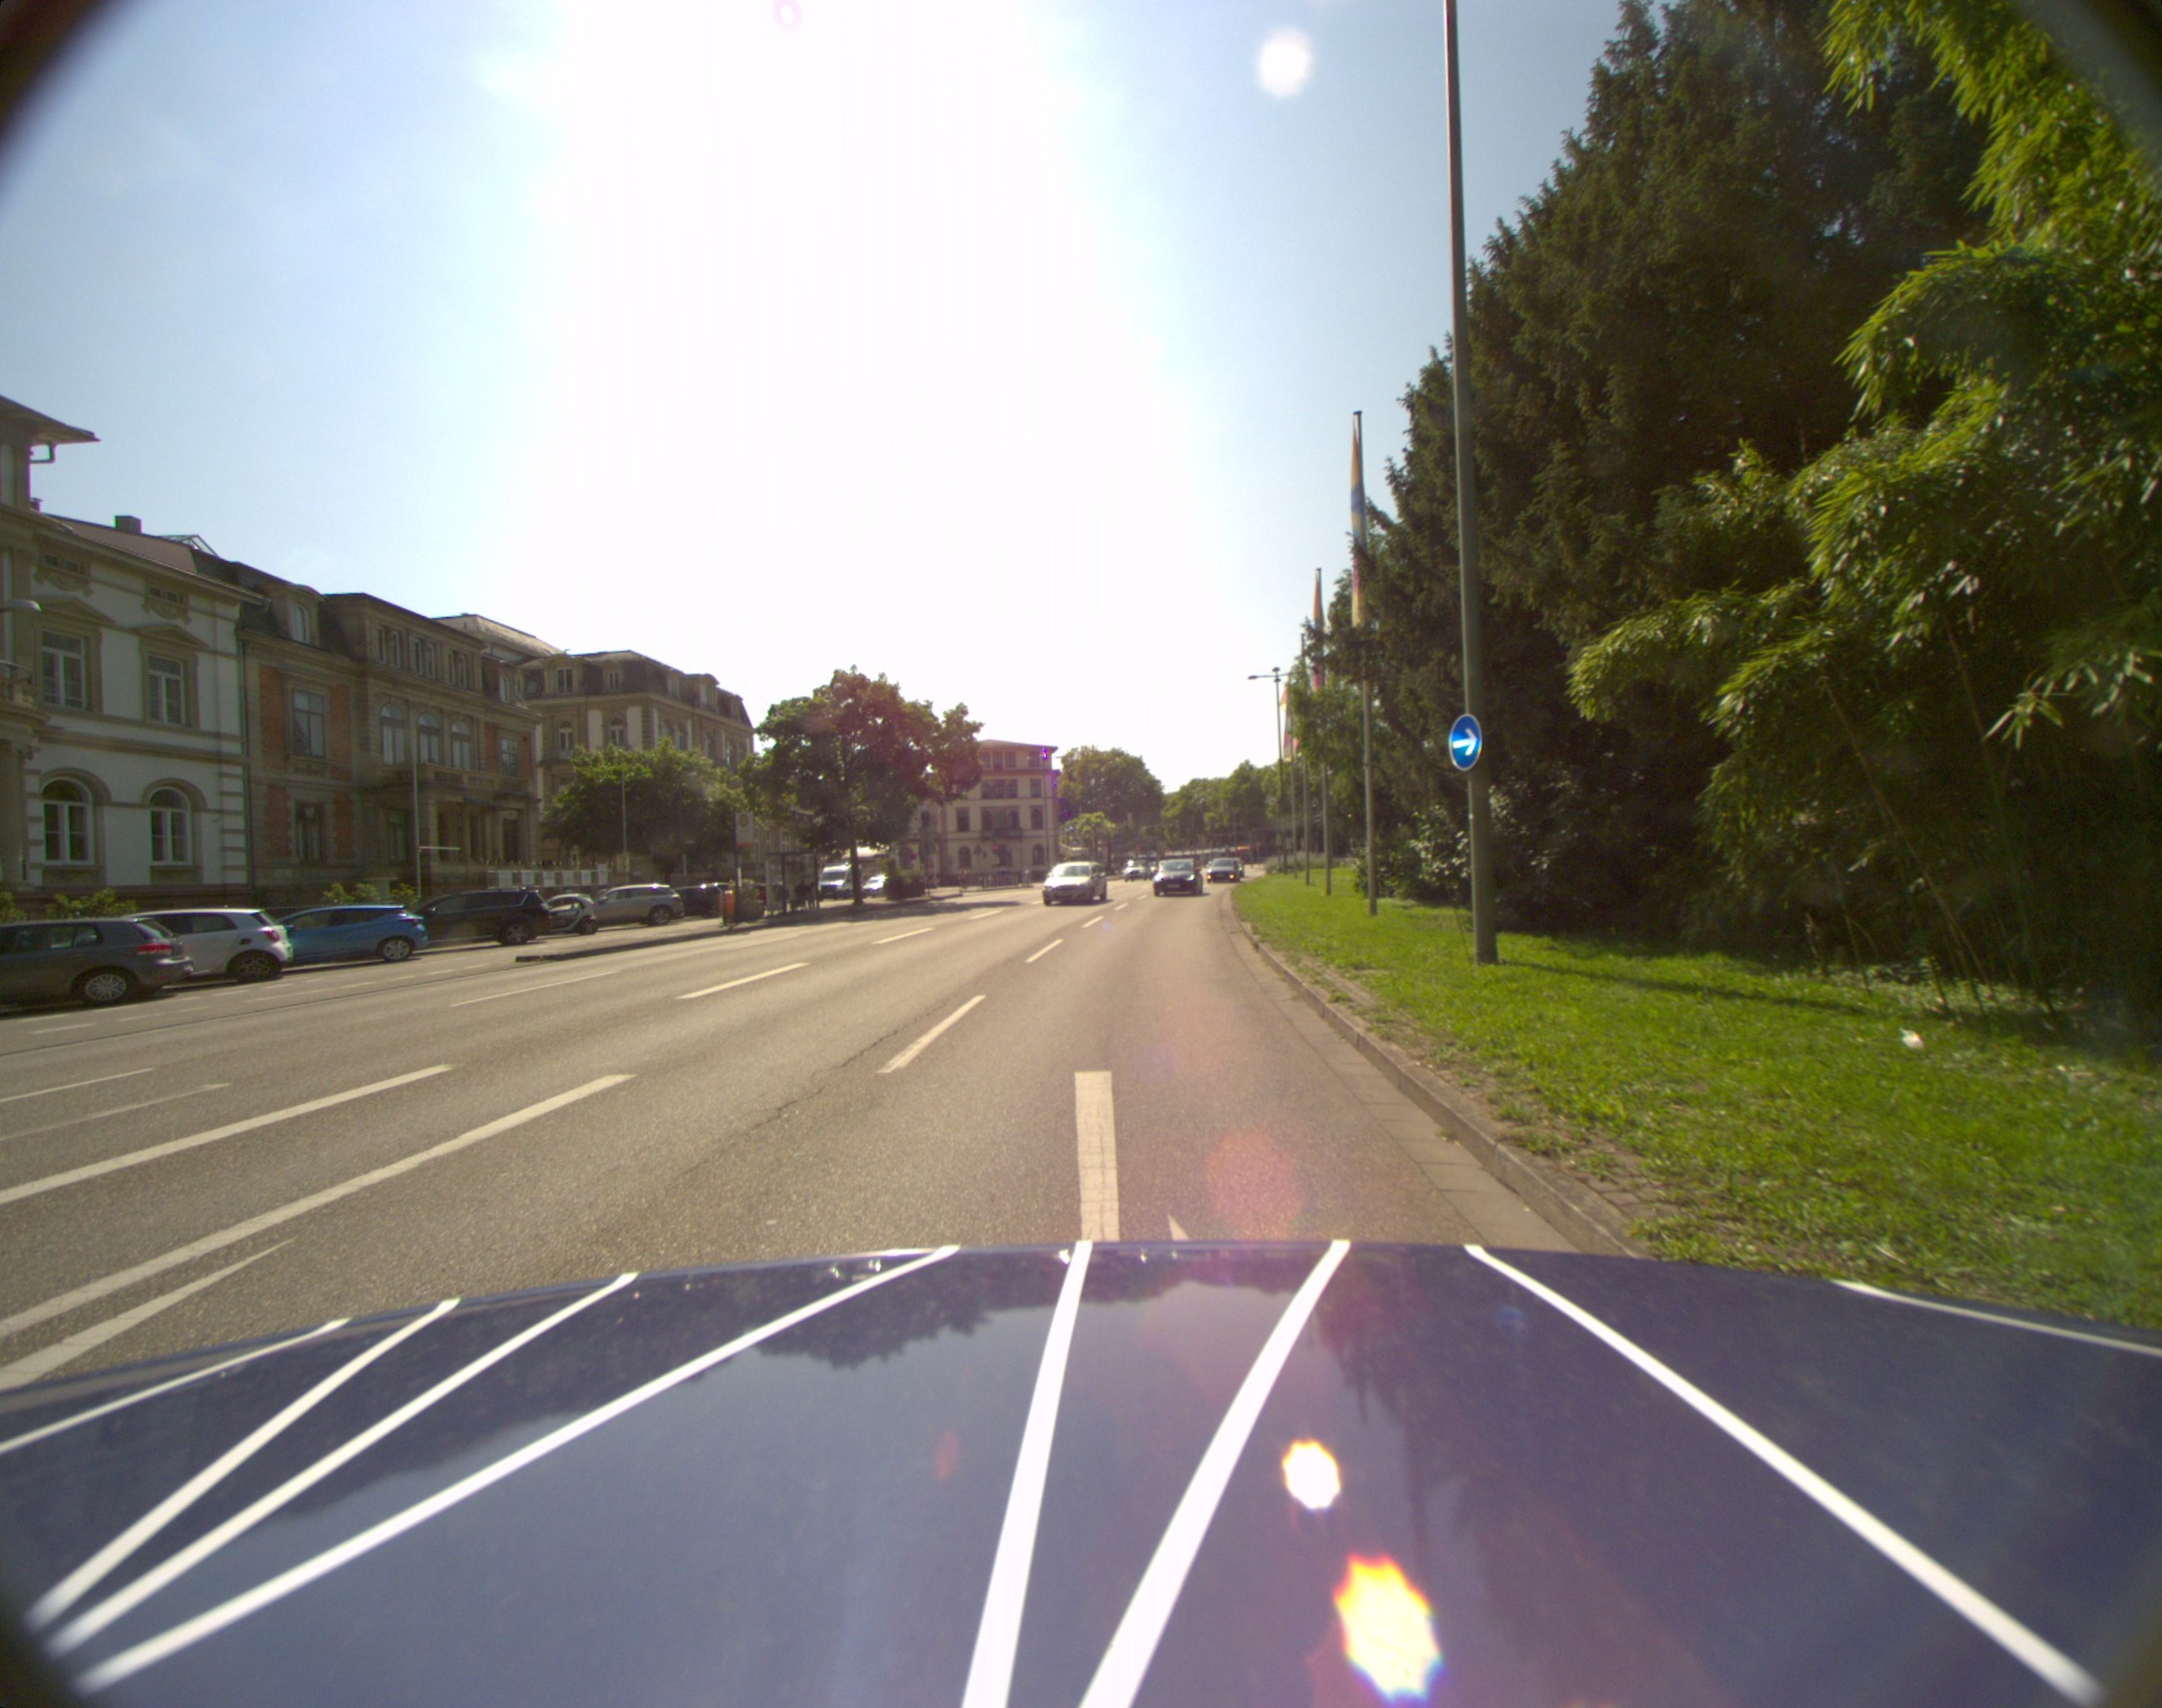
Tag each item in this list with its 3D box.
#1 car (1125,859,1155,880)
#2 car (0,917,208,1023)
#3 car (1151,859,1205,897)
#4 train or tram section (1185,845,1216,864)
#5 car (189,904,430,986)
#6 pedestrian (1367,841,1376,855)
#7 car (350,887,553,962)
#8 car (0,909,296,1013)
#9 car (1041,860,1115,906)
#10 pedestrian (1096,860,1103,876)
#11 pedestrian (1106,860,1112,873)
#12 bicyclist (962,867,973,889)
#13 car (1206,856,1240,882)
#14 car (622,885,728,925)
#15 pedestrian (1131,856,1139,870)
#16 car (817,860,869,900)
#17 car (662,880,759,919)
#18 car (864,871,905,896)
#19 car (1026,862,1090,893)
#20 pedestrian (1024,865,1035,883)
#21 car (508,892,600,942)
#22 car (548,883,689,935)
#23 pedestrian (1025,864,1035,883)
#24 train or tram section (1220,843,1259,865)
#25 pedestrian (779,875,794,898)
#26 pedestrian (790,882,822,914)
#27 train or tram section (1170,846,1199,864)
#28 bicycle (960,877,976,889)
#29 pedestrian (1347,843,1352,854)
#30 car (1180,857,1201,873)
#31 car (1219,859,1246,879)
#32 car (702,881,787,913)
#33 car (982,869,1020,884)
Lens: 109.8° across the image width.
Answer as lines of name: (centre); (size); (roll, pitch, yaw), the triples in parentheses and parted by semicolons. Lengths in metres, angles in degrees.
car: (4.536, 1.178, 58.065); (1.789, 1.503, 4.284); (-1, 0, 11)
car: (-17.491, 1.936, 12.282); (4.115, 1.453, 1.823); (-3, 0, -39)
car: (4.169, 0.963, 32.026); (1.789, 1.443, 4.285); (-1, 0, 13)
train or tram section: (22.454, 0.172, 143.104); (2.736, 3.248, 8.729); (-3, 0, -13)
car: (-17.998, 2.038, 17.942); (1.709, 1.433, 3.819); (-3, -1, 45)
pedestrian: (39.599, -0.824, 103.661); (0.824, 1.825, 0.670); (-2, 1, -12)
car: (-17.982, 1.941, 21.842); (1.709, 1.686, 4.282); (-3, 0, 45)
car: (-18.093, 1.978, 14.750); (3.819, 1.502, 1.709); (-3, 0, -42)
car: (-0.019, 1.010, 27.765); (1.717, 1.491, 4.495); (-2, -1, 12)
pedestrian: (2.131, 1.600, 88.067); (0.726, 1.794, 0.652); (-3, 0, -5)
pedestrian: (3.392, 1.540, 93.153); (0.535, 1.639, 0.674); (-3, 0, -9)
bicyclist: (-8.664, 1.819, 58.045); (0.592, 1.597, 0.685); (-3, 0, 13)
car: (8.804, 0.880, 46.747); (1.789, 1.484, 4.093); (-1, 0, 14)
car: (-17.752, 2.196, 33.288); (3.827, 1.408, 1.602); (-3, 0, -39)
pedestrian: (6.887, 1.149, 96.638); (0.730, 1.834, 0.590); (-3, 0, -35)
car: (-16.777, 1.770, 53.864); (1.999, 2.588, 5.318); (-3, 0, -2)
car: (-18.037, 2.190, 37.043); (3.884, 1.565, 1.746); (-3, 0, -39)
car: (-14.151, 2.080, 54.941); (1.821, 1.616, 4.879); (-3, -1, -3)
car: (-1.088, 1.146, 38.754); (1.788, 1.443, 3.980); (-1, 0, 22)
pedestrian: (-4.761, 1.839, 70.084); (0.772, 1.563, 0.830); (-3, 0, 8)
car: (-17.884, 2.115, 25.840); (1.198, 1.474, 2.293); (-3, 0, 41)
car: (-17.856, 2.059, 29.455); (4.324, 1.620, 1.709); (-3, 0, -43)
pedestrian: (-4.636, 1.765, 68.975); (0.753, 1.649, 0.830); (-3, 0, 7)
train or tram section: (26.226, 0.067, 126.080); (2.736, 3.248, 8.729); (-3, 0, -13)
pedestrian: (-22.686, 2.489, 58.533); (0.821, 1.730, 0.751); (-3, 0, -4)
pedestrian: (-10.661, 1.694, 29.446); (1.022, 1.190, 0.791); (-3, 0, -13)
train or tram section: (20.595, 0.224, 151.642); (2.736, 3.248, 8.729); (-3, 0, -13)
bicycle: (-8.647, 2.183, 58.053); (0.592, 0.849, 1.746); (-3, 0, 13)
pedestrian: (38.827, -0.798, 109.862); (0.564, 1.628, 0.601); (-1, 1, 39)
car: (11.103, 1.106, 76.726); (1.789, 1.451, 4.092); (-1, 0, 12)
car: (11.498, 1.104, 57.371); (1.789, 1.461, 4.093); (-1, 0, 14)
car: (-17.728, 2.231, 40.123); (3.707, 1.410, 1.745); (-3, 0, -39)
car: (-8.451, 2.366, 80.553); (3.973, 1.443, 1.791); (-1, 0, -6)
